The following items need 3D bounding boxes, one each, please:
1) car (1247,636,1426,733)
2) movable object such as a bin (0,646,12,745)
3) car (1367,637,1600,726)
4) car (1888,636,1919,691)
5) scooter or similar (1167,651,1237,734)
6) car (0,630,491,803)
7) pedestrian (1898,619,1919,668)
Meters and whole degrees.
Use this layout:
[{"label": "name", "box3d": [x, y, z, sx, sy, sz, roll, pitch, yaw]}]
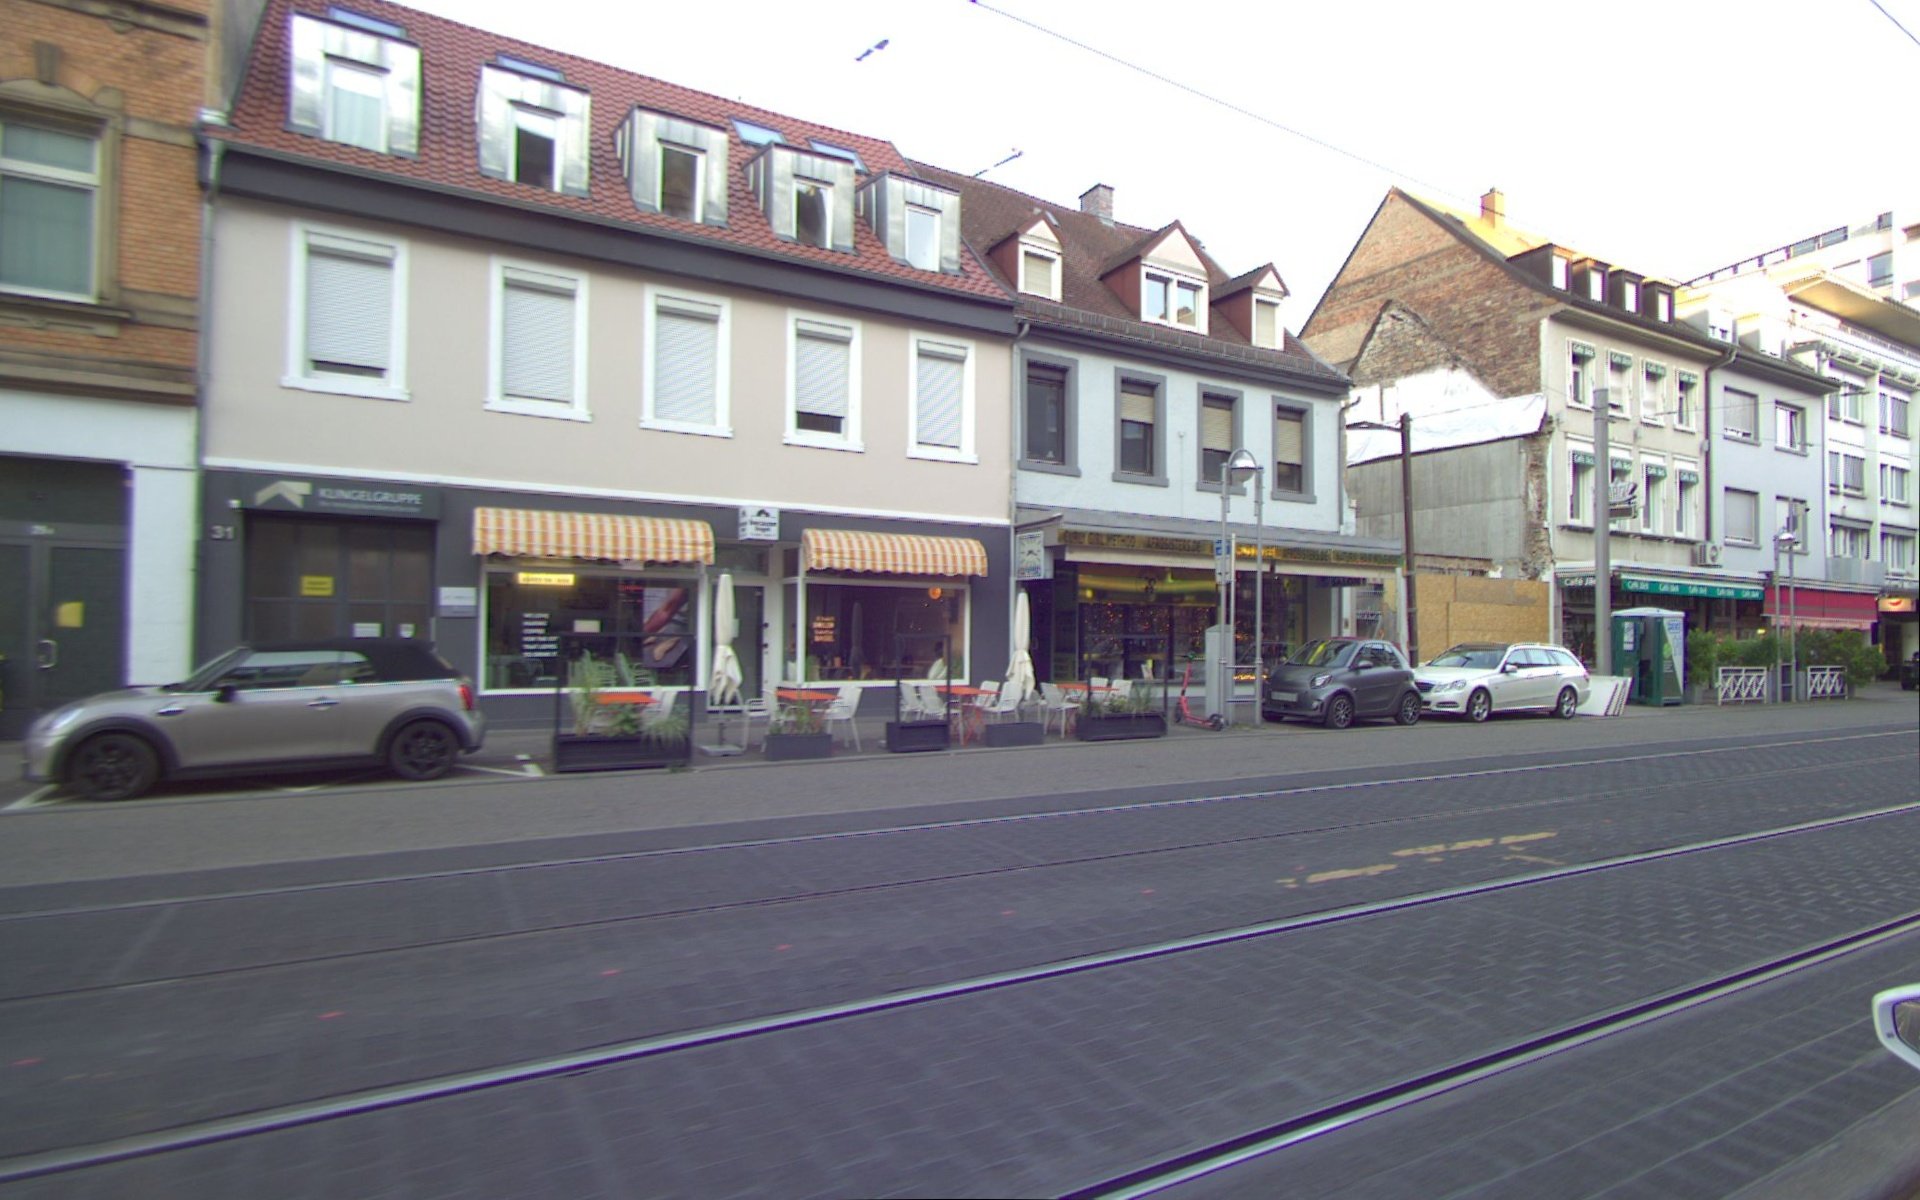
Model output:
[{"label": "car", "box3d": [6.755, 1.457, 18.023, 2.780, 1.524, 1.584, 2, 0, -30]}, {"label": "movable object such as a bin", "box3d": [-11.442, 1.106, 11.482, 0.720, 1.146, 0.587, 1, -2, -29]}, {"label": "car", "box3d": [10.592, 1.574, 20.255, 4.783, 1.524, 1.841, 2, 0, -30]}, {"label": "car", "box3d": [33.409, 2.161, 33.802, 4.376, 1.786, 1.908, 2, 0, -29]}, {"label": "scooter or similar", "box3d": [3.933, 1.481, 16.410, 0.290, 1.221, 1.308, 1, 0, -28]}, {"label": "car", "box3d": [-6.975, 1.071, 10.302, 3.817, 1.408, 1.726, 2, 0, -29]}, {"label": "pedestrian", "box3d": [36.748, 1.679, 38.669, 0.827, 1.844, 0.645, 1, 1, -29]}]
